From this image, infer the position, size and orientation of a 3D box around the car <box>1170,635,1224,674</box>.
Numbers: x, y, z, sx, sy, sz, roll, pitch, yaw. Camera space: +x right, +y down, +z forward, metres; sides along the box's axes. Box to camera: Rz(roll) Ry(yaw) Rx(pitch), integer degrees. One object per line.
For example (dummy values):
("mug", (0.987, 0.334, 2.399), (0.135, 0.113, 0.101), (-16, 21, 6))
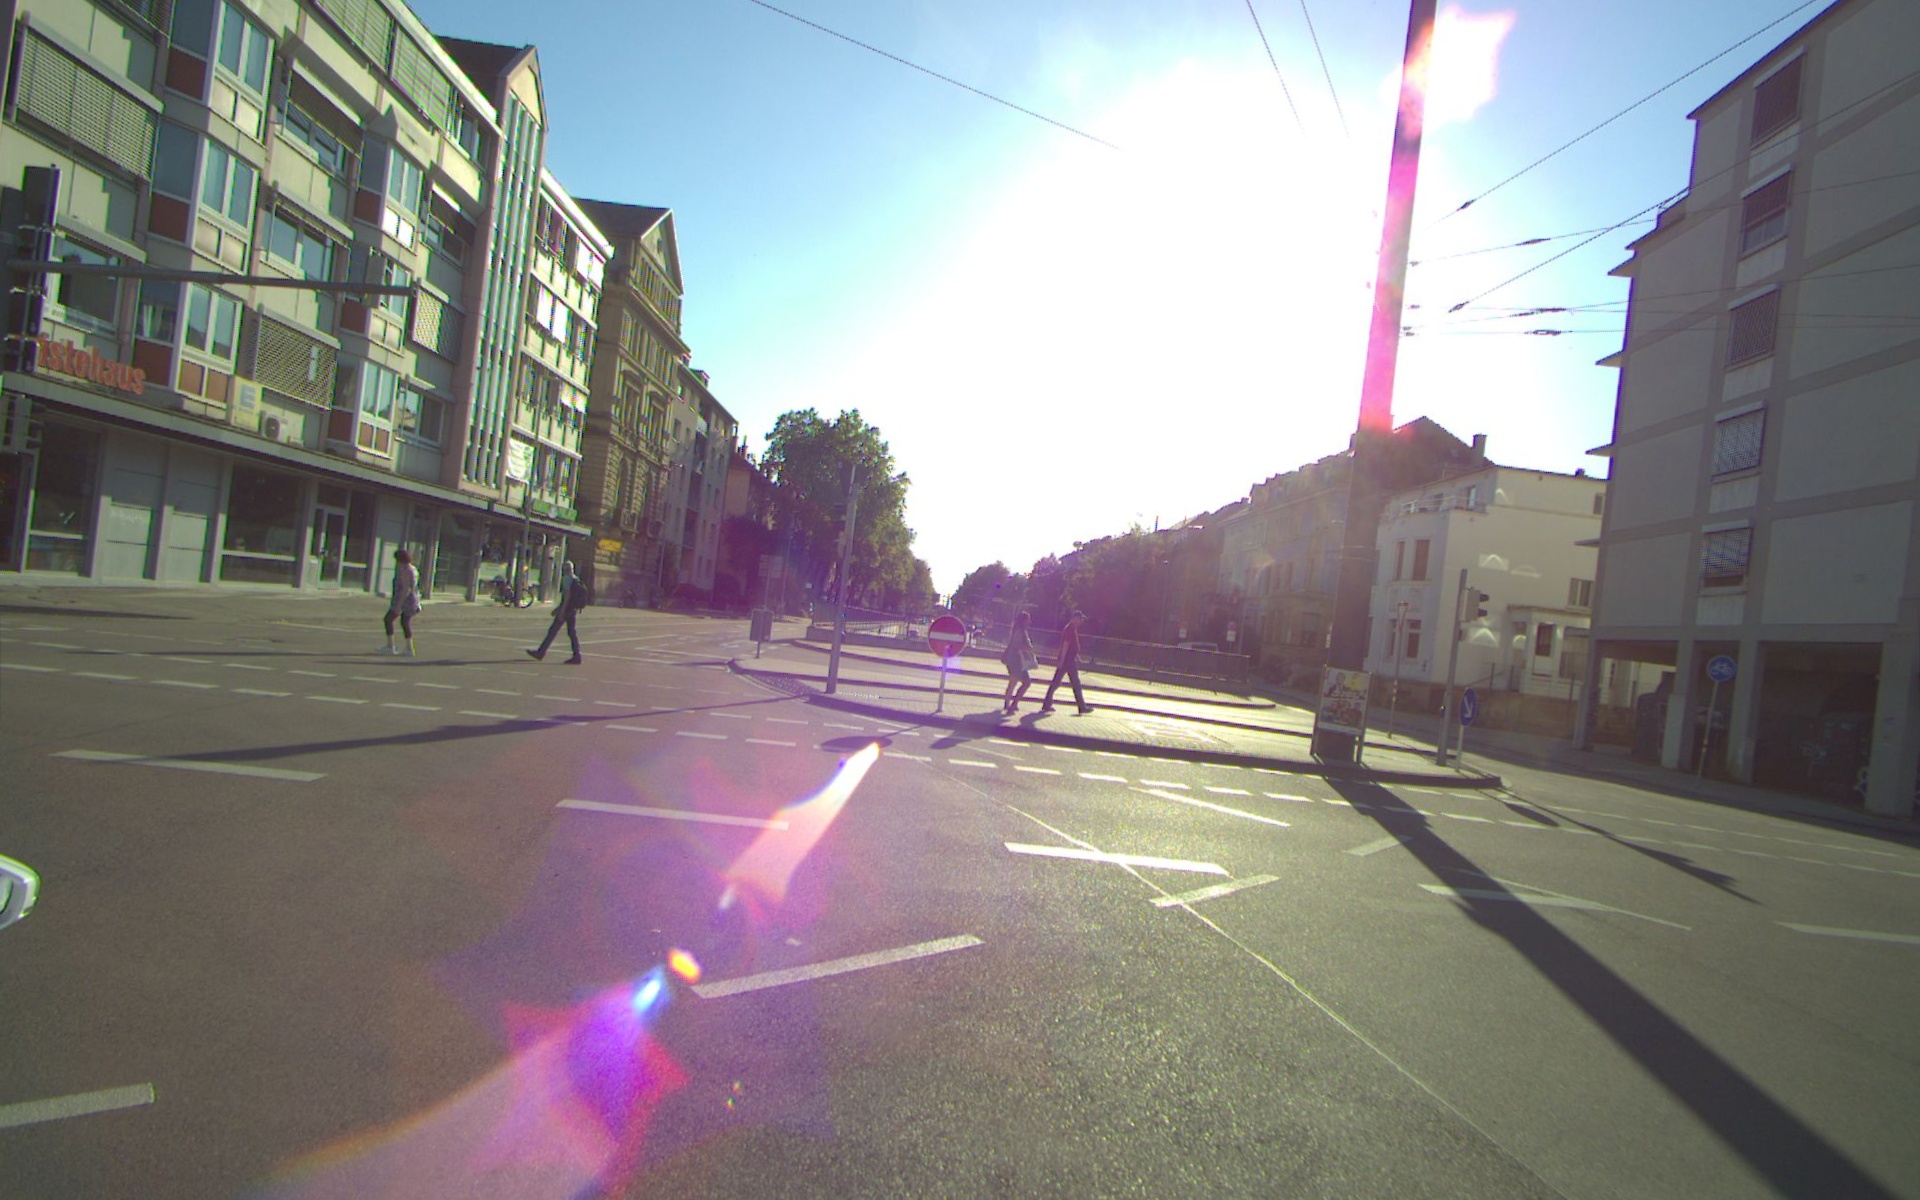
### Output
("car", (16.302, 3.733, 69.538), (2.252, 2.197, 4.835), (9, -1, 0))

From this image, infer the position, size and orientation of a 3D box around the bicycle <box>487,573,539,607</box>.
("bicycle", (-16.735, -0.359, 37.707), (0.444, 1.083, 2.094), (8, -1, 15))

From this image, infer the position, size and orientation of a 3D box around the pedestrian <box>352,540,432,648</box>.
("pedestrian", (-8.531, -0.074, 15.117), (0.848, 1.479, 0.681), (9, -5, -31))

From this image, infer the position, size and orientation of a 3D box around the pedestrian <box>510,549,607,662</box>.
("pedestrian", (-6.983, 0.104, 17.556), (1.178, 1.751, 0.855), (9, 0, -7))

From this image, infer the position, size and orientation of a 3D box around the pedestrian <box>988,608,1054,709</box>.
("pedestrian", (0.958, 0.903, 15.917), (0.695, 1.470, 0.855), (9, 0, -7))

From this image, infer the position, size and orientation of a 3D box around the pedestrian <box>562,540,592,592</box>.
("pedestrian", (-18.931, -1.656, 49.713), (0.915, 2.426, 0.958), (9, 0, -13))

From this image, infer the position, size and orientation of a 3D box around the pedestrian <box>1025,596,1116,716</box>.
("pedestrian", (1.938, 0.967, 17.746), (1.178, 1.906, 0.855), (9, 0, -7))
